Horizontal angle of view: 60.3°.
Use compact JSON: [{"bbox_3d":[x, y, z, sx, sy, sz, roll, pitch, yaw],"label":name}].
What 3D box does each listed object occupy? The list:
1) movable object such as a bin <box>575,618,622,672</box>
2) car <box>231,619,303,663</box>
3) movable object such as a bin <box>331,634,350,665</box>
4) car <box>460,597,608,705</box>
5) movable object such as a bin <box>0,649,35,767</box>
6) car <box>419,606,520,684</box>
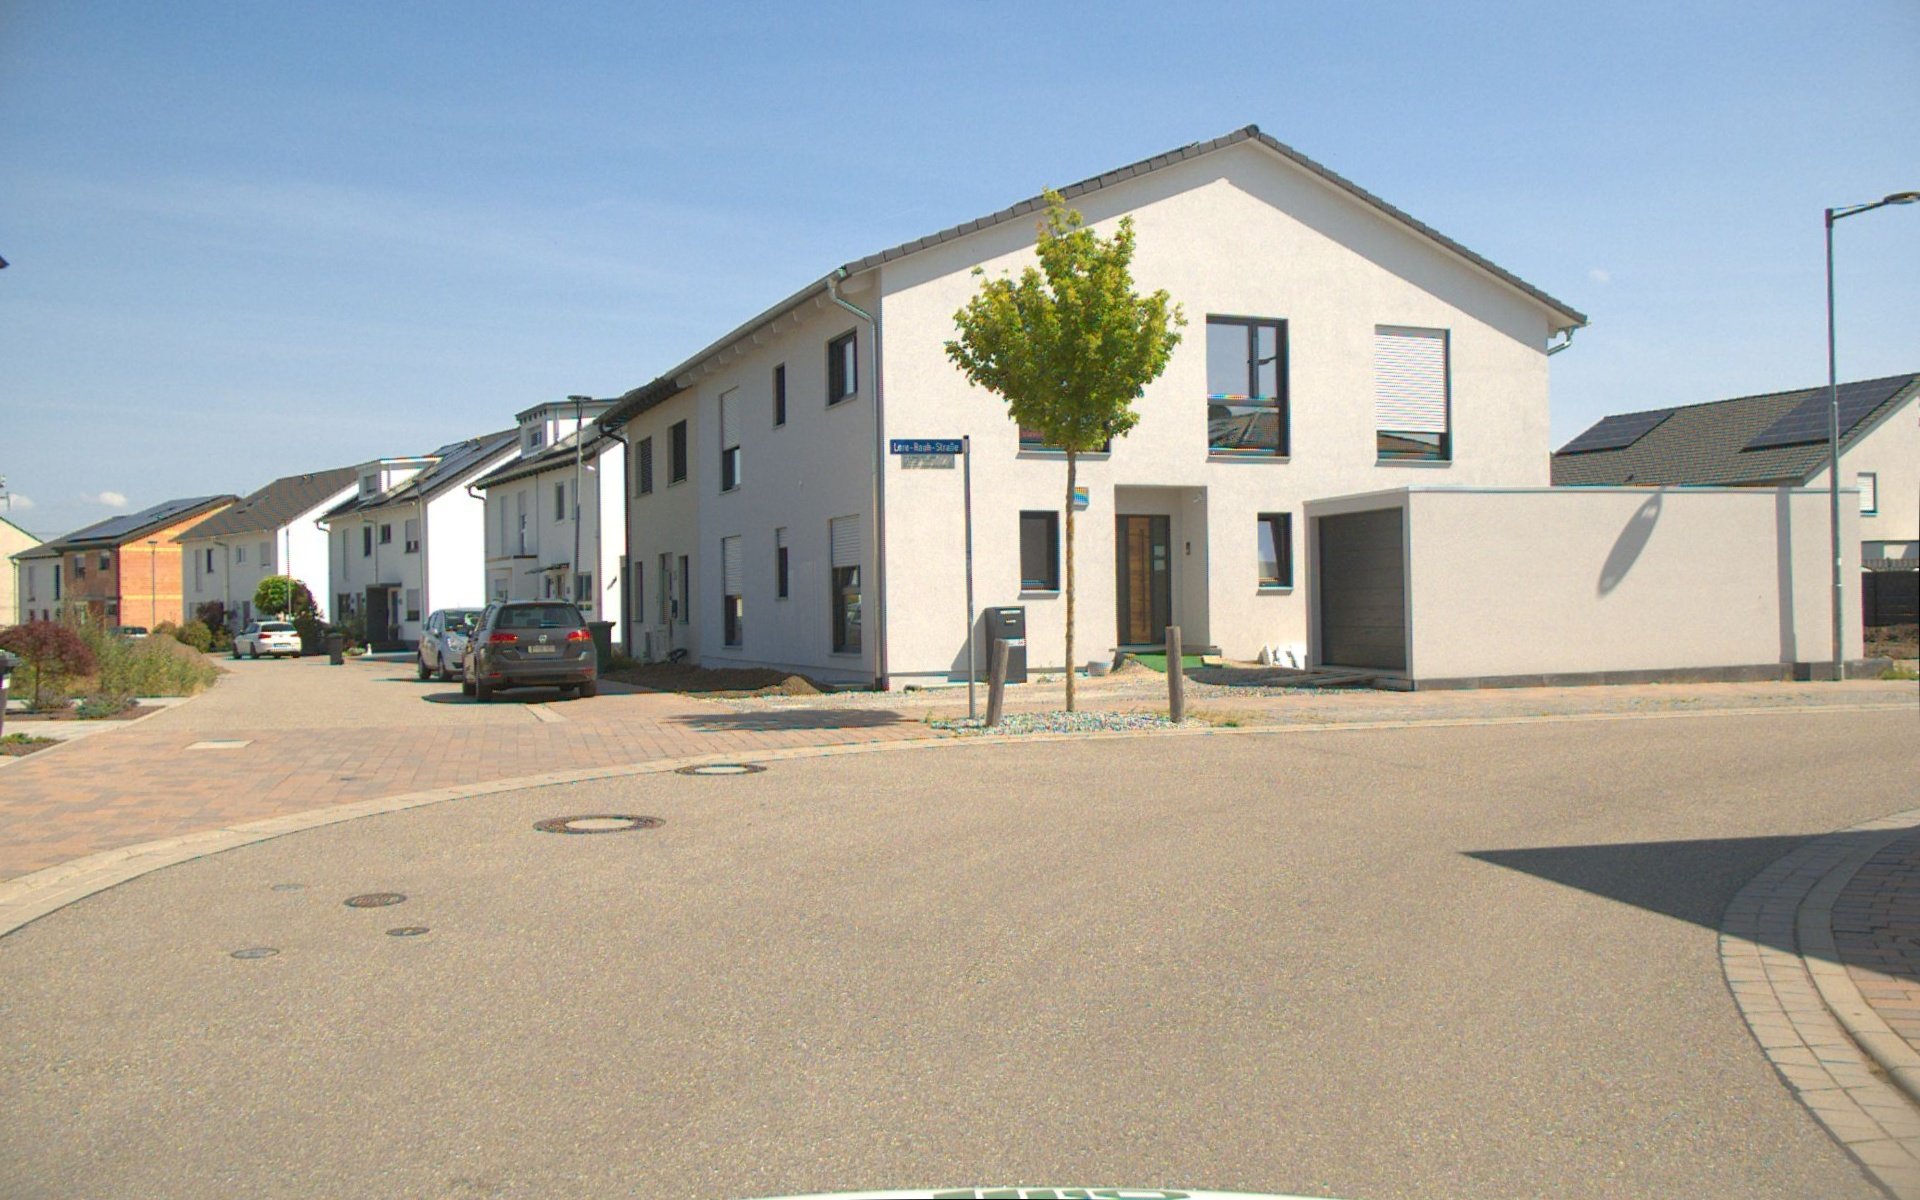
[{"bbox_3d":[-7.528,0.932,34.449,0.774,1.068,0.798,-3,1,-24],"label":"movable object such as a bin"},{"bbox_3d":[-27.172,1.581,64.828,1.766,1.624,3.949,-2,0,-36],"label":"car"},{"bbox_3d":[-19.531,1.567,52.152,0.550,0.965,0.245,-1,0,-26],"label":"movable object such as a bin"},{"bbox_3d":[-6.529,0.729,25.076,1.702,1.447,3.974,-2,0,-21],"label":"car"},{"bbox_3d":[-7.952,0.871,13.491,0.605,0.943,0.421,2,-2,-19],"label":"movable object such as a bin"},{"bbox_3d":[-10.249,0.901,34.421,1.653,1.489,3.918,-2,0,-22],"label":"car"}]
